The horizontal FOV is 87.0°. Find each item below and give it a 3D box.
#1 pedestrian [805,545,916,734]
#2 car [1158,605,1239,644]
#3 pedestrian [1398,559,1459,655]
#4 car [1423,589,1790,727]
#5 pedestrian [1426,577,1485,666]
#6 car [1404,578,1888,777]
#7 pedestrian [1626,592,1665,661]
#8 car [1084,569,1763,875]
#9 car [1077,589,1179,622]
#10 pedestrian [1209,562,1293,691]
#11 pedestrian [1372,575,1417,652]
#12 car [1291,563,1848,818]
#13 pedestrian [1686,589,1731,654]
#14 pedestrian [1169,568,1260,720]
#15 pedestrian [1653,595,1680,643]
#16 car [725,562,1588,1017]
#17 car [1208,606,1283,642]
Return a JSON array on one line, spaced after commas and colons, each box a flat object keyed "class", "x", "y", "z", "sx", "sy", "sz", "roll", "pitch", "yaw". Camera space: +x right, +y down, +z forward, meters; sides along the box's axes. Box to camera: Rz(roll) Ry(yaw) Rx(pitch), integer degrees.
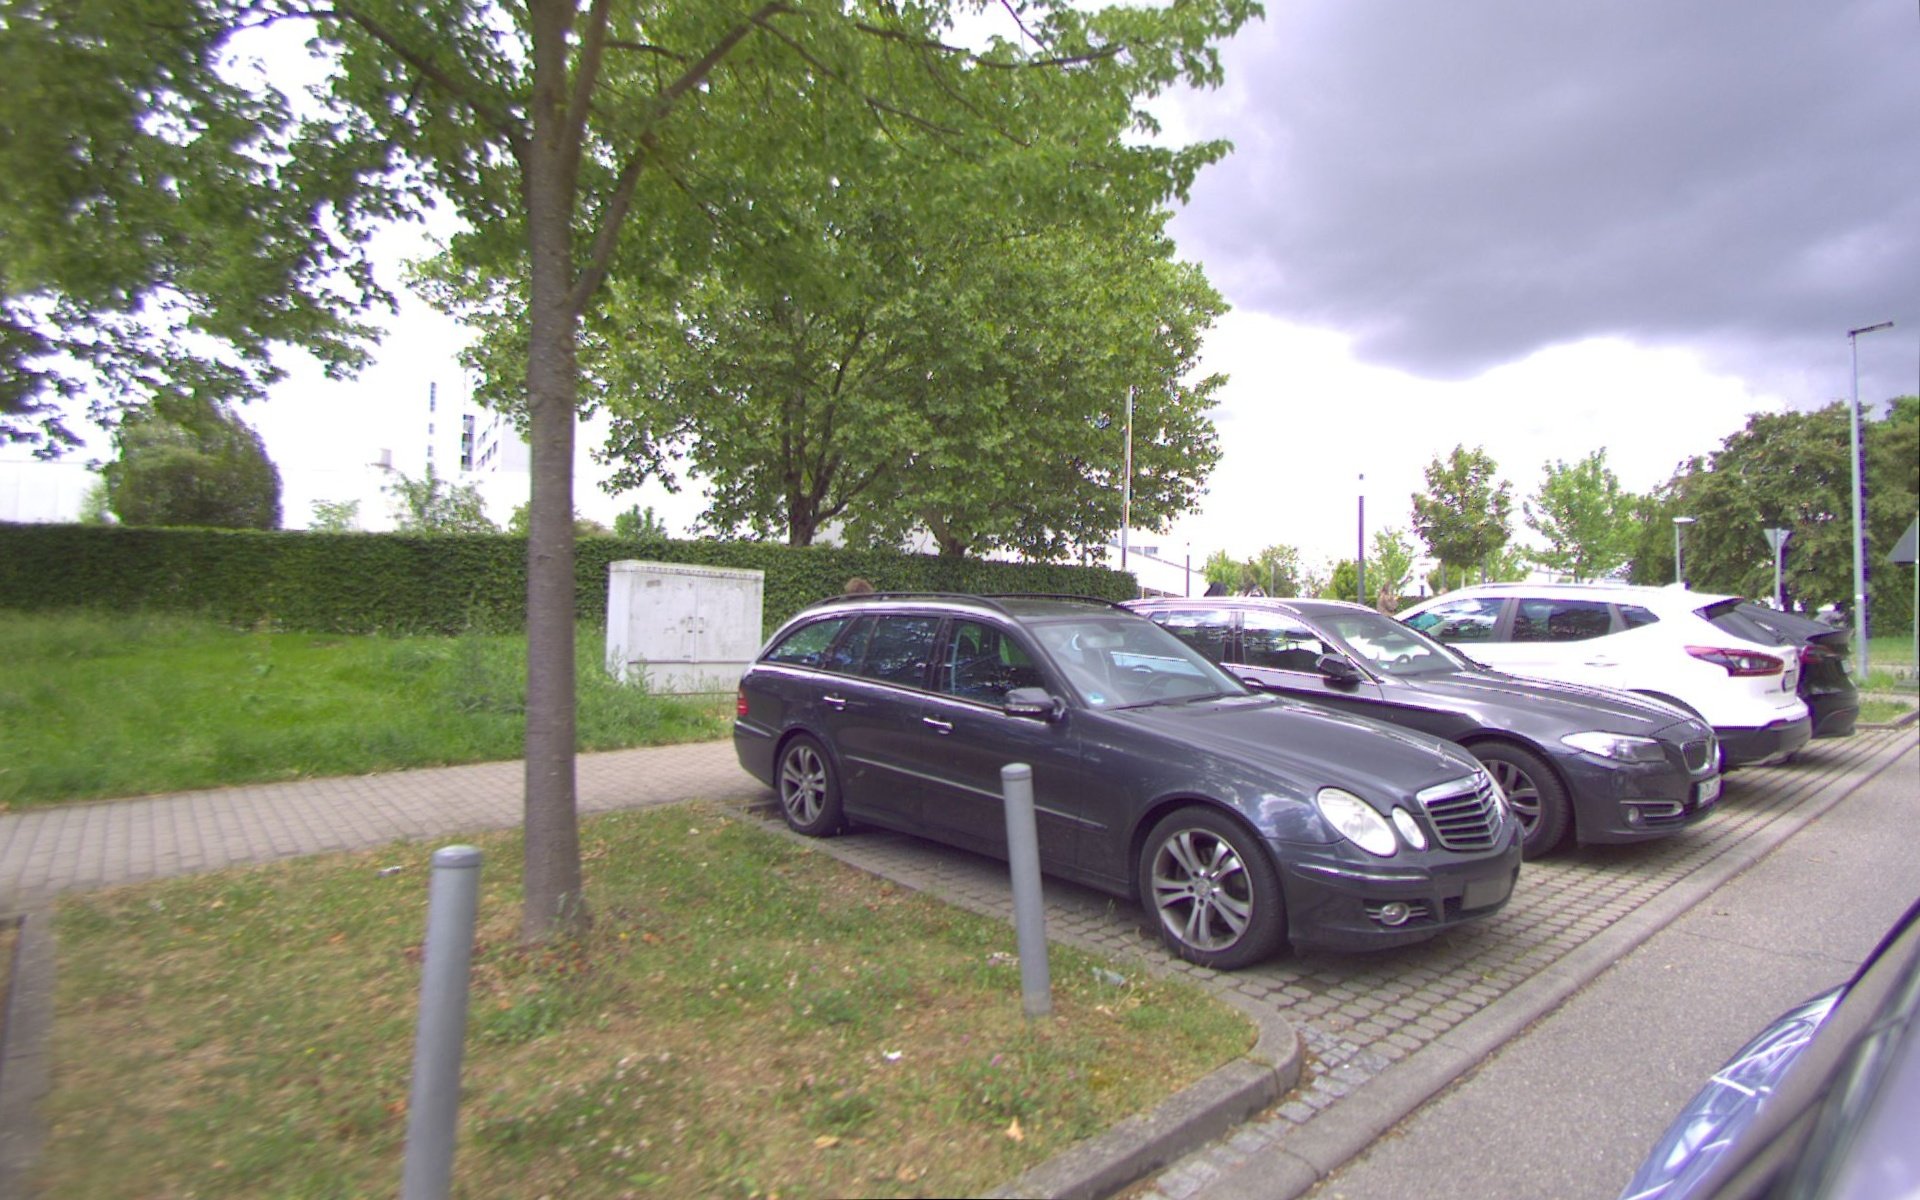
[{"class": "pedestrian", "x": -1.011, "y": 0.386, "z": 10.278, "sx": 0.862, "sy": 1.816, "sz": 0.741, "roll": 1, "pitch": -2, "yaw": -39}, {"class": "car", "x": 12.993, "y": 1.318, "z": 55.136, "sx": 3.957, "sy": 2.040, "sz": 1.983, "roll": -1, "pitch": -1, "yaw": 25}, {"class": "pedestrian", "x": 7.532, "y": 0.118, "z": 16.267, "sx": 0.722, "sy": 1.487, "sz": 0.620, "roll": 1, "pitch": -2, "yaw": -39}, {"class": "car", "x": 8.176, "y": 0.649, "z": 13.082, "sx": 1.615, "sy": 1.517, "sz": 3.679, "roll": 1, "pitch": -1, "yaw": -38}, {"class": "pedestrian", "x": 9.380, "y": 0.401, "z": 19.153, "sx": 0.916, "sy": 1.642, "sz": 0.688, "roll": 1, "pitch": -2, "yaw": -42}, {"class": "car", "x": 6.593, "y": 0.618, "z": 10.075, "sx": 1.564, "sy": 1.594, "sz": 3.679, "roll": -1, "pitch": 0, "yaw": -38}, {"class": "pedestrian", "x": 17.155, "y": 0.649, "z": 25.325, "sx": 0.650, "sy": 1.690, "sz": 0.883, "roll": -2, "pitch": -2, "yaw": 43}, {"class": "car", "x": 2.997, "y": 0.636, "z": 7.219, "sx": 1.851, "sy": 1.538, "sz": 3.993, "roll": 0, "pitch": -1, "yaw": -41}, {"class": "car", "x": 7.310, "y": 0.257, "z": 44.219, "sx": 4.083, "sy": 1.409, "sz": 1.691, "roll": -1, "pitch": -1, "yaw": 30}, {"class": "pedestrian", "x": 4.253, "y": 0.384, "z": 14.790, "sx": 0.862, "sy": 1.816, "sz": 0.832, "roll": 1, "pitch": -2, "yaw": -39}, {"class": "pedestrian", "x": 9.962, "y": 0.308, "z": 23.228, "sx": 0.692, "sy": 1.733, "sz": 0.656, "roll": 1, "pitch": -2, "yaw": -33}, {"class": "car", "x": 4.949, "y": 0.593, "z": 8.630, "sx": 1.817, "sy": 1.668, "sz": 3.679, "roll": 1, "pitch": 0, "yaw": -38}, {"class": "pedestrian", "x": 20.450, "y": 0.585, "z": 27.671, "sx": 0.753, "sy": 1.744, "sz": 0.880, "roll": -1, "pitch": -2, "yaw": 21}, {"class": "pedestrian", "x": 3.198, "y": 0.538, "z": 12.721, "sx": 0.862, "sy": 1.816, "sz": 0.741, "roll": 1, "pitch": -2, "yaw": -39}, {"class": "pedestrian", "x": 25.074, "y": 0.673, "z": 35.921, "sx": 0.630, "sy": 1.665, "sz": 0.599, "roll": -1, "pitch": -2, "yaw": 21}, {"class": "car", "x": 0.664, "y": 0.609, "z": 5.719, "sx": 1.918, "sy": 1.511, "sz": 4.580, "roll": 0, "pitch": 0, "yaw": -42}, {"class": "car", "x": 16.589, "y": 1.378, "z": 58.824, "sx": 3.957, "sy": 2.040, "sz": 1.983, "roll": -1, "pitch": -1, "yaw": 25}]
